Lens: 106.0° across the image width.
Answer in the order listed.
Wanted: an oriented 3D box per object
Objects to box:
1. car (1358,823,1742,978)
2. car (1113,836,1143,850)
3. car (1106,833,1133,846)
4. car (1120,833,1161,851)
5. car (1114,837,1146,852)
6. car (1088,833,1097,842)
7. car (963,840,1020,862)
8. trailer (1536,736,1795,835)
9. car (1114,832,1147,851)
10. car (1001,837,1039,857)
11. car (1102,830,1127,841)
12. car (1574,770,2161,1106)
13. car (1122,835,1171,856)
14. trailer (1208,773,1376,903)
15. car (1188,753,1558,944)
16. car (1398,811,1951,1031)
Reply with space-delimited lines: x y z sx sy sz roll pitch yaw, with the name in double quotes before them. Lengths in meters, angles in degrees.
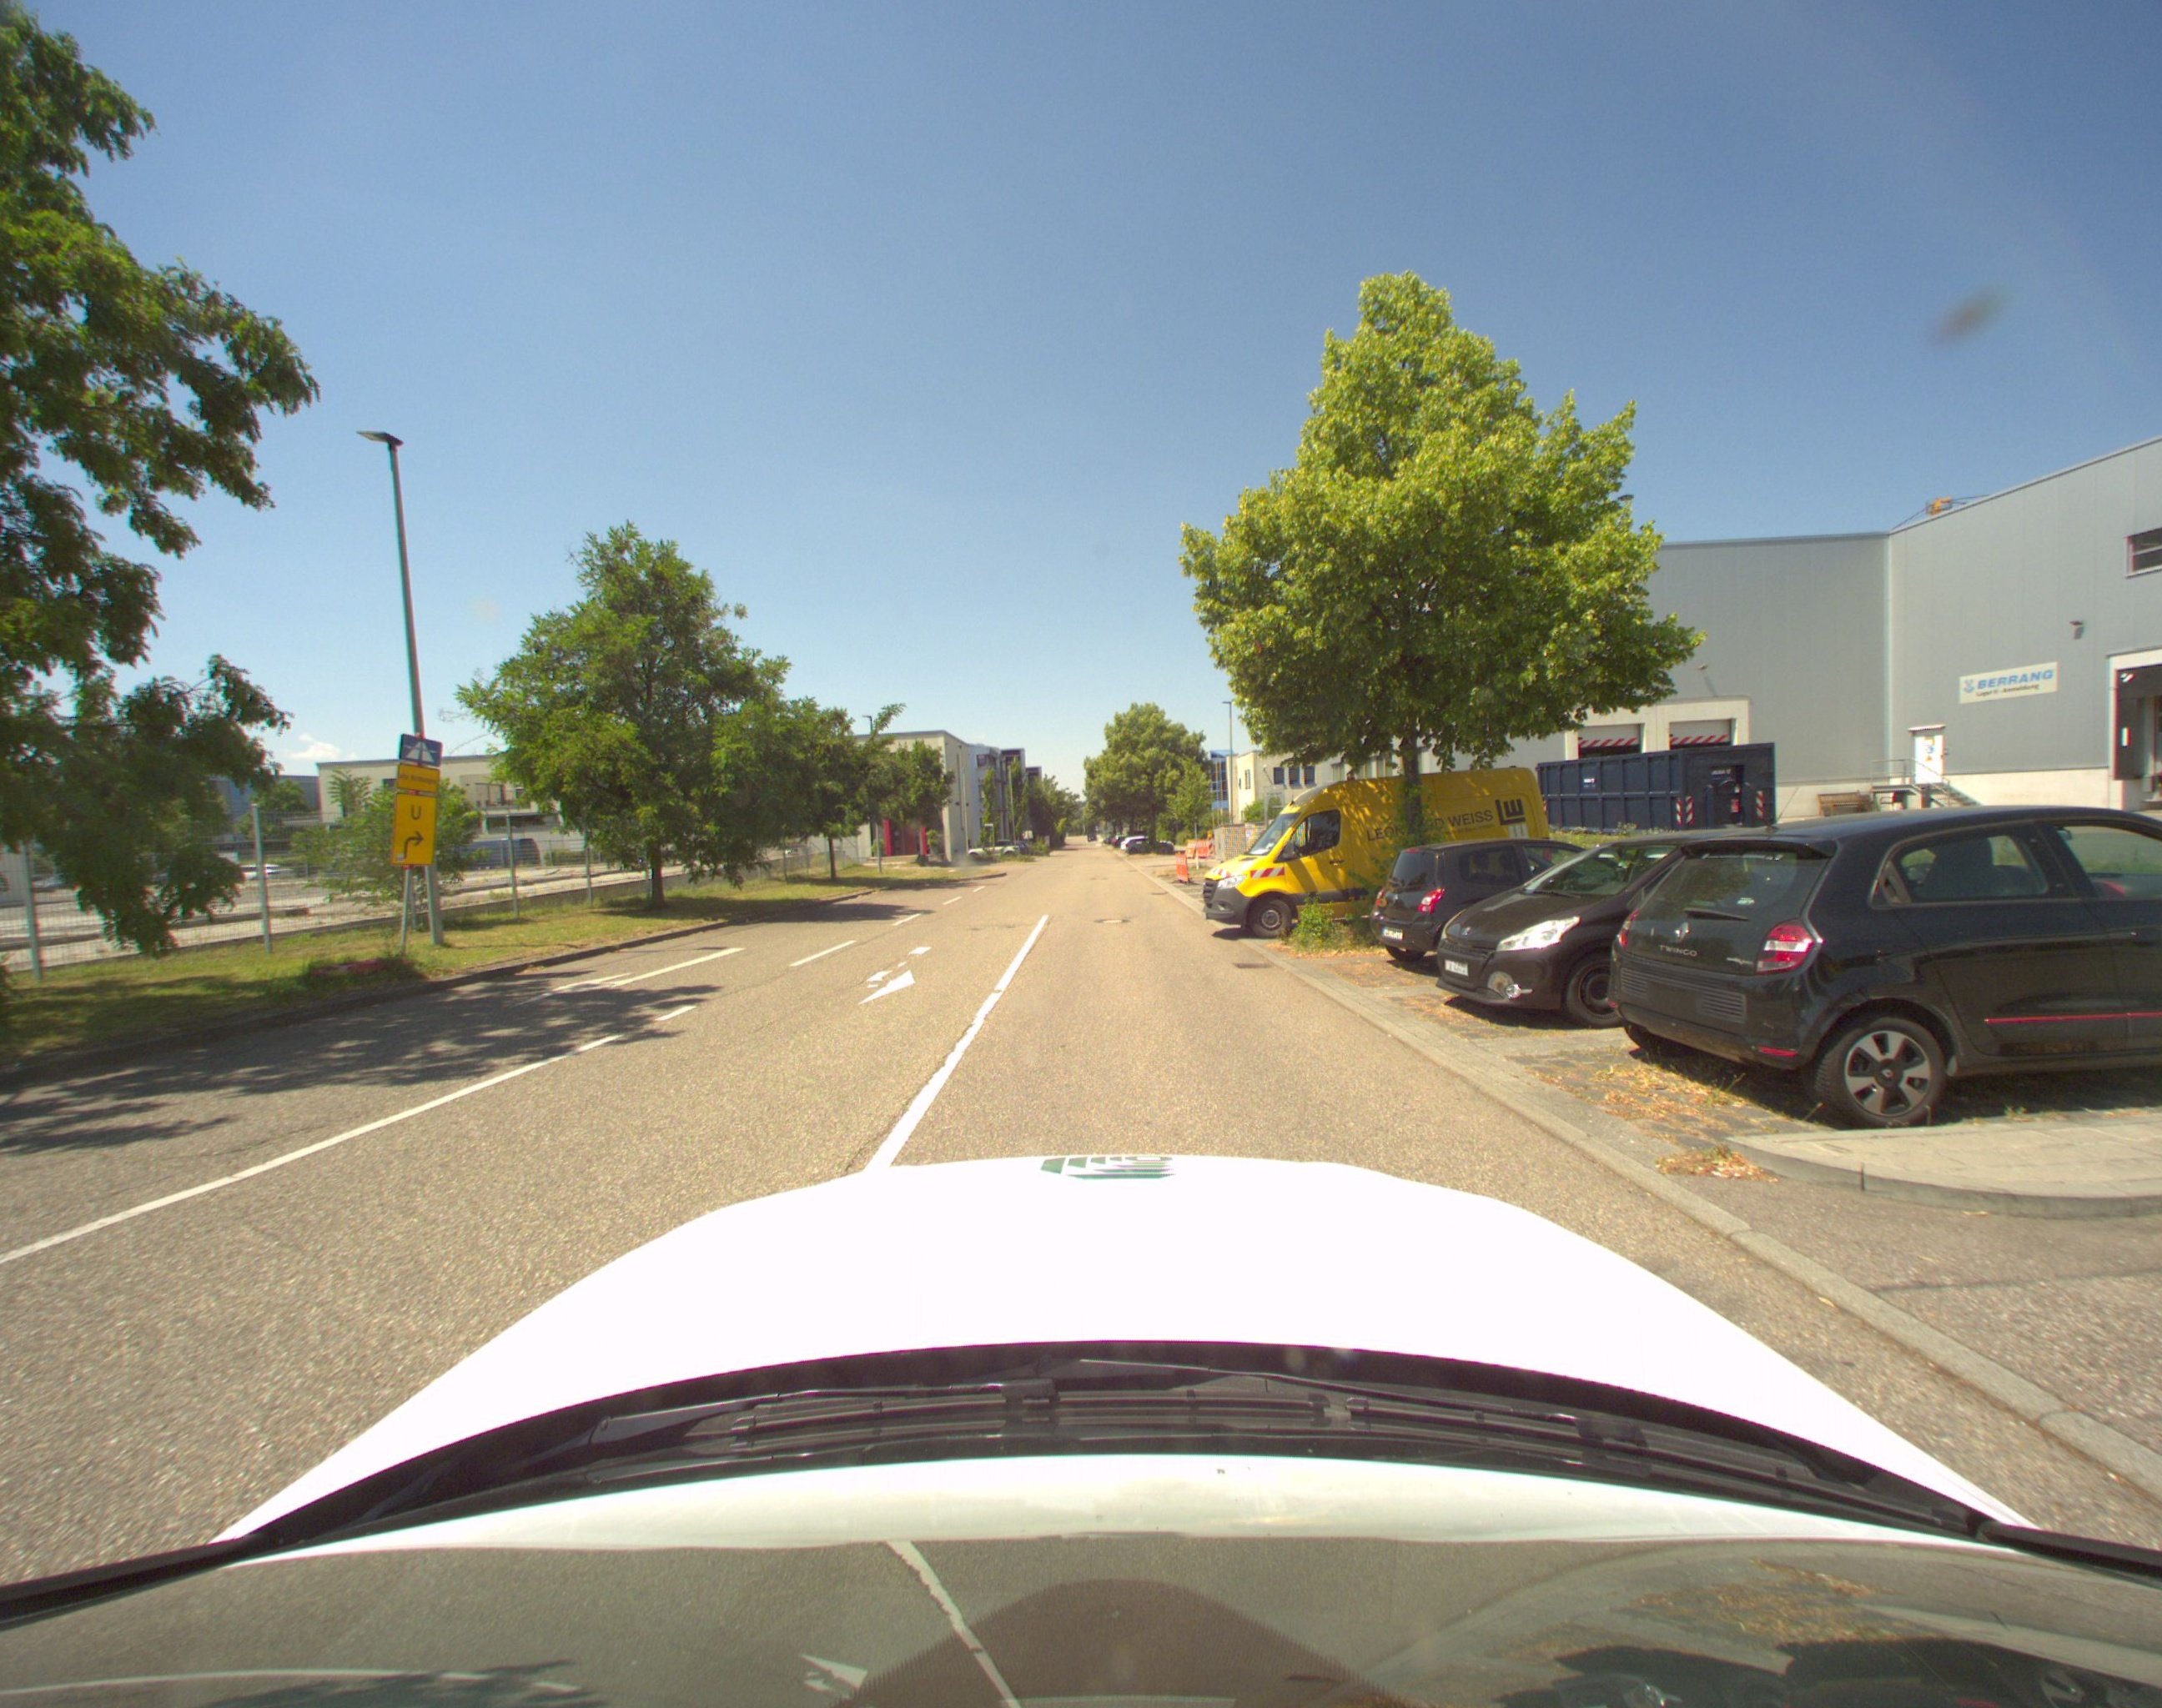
"car" 5.372 0.489 9.634 3.592 1.478 1.627 -3 1 -2
"car" 6.058 -1.407 104.420 3.710 1.626 1.814 -2 1 0
"car" 6.021 -2.247 126.384 3.928 1.834 1.763 -3 4 -8
"car" 5.589 -1.119 76.567 3.510 1.354 1.536 -5 1 -4
"car" 5.977 -1.143 99.096 3.710 1.626 1.814 -2 1 0
"car" 2.550 -3.619 177.746 1.755 1.755 3.946 -2 1 1
"car" -6.743 -0.254 61.610 4.036 1.494 1.727 -2 1 -3
"trailer" 16.906 -2.035 24.389 2.648 2.419 7.422 -2 5 2
"car" 5.817 -1.449 95.516 3.710 2.110 1.814 -2 1 0
"car" -4.949 -0.552 66.135 3.054 1.478 1.290 -2 1 -7
"car" 5.681 -3.136 138.423 3.928 1.577 1.763 -3 4 -8
"car" 5.261 0.342 4.802 3.648 1.462 1.627 -5 0 0
"car" 5.357 -0.682 66.838 3.672 1.354 1.643 -5 1 -4
"trailer" 5.386 -0.419 21.849 2.651 2.856 5.514 -5 1 -3
"car" 5.003 -0.132 14.495 5.763 2.732 1.999 -4 2 -2
"car" 5.029 0.512 7.225 3.761 1.507 1.590 -3 1 -2
